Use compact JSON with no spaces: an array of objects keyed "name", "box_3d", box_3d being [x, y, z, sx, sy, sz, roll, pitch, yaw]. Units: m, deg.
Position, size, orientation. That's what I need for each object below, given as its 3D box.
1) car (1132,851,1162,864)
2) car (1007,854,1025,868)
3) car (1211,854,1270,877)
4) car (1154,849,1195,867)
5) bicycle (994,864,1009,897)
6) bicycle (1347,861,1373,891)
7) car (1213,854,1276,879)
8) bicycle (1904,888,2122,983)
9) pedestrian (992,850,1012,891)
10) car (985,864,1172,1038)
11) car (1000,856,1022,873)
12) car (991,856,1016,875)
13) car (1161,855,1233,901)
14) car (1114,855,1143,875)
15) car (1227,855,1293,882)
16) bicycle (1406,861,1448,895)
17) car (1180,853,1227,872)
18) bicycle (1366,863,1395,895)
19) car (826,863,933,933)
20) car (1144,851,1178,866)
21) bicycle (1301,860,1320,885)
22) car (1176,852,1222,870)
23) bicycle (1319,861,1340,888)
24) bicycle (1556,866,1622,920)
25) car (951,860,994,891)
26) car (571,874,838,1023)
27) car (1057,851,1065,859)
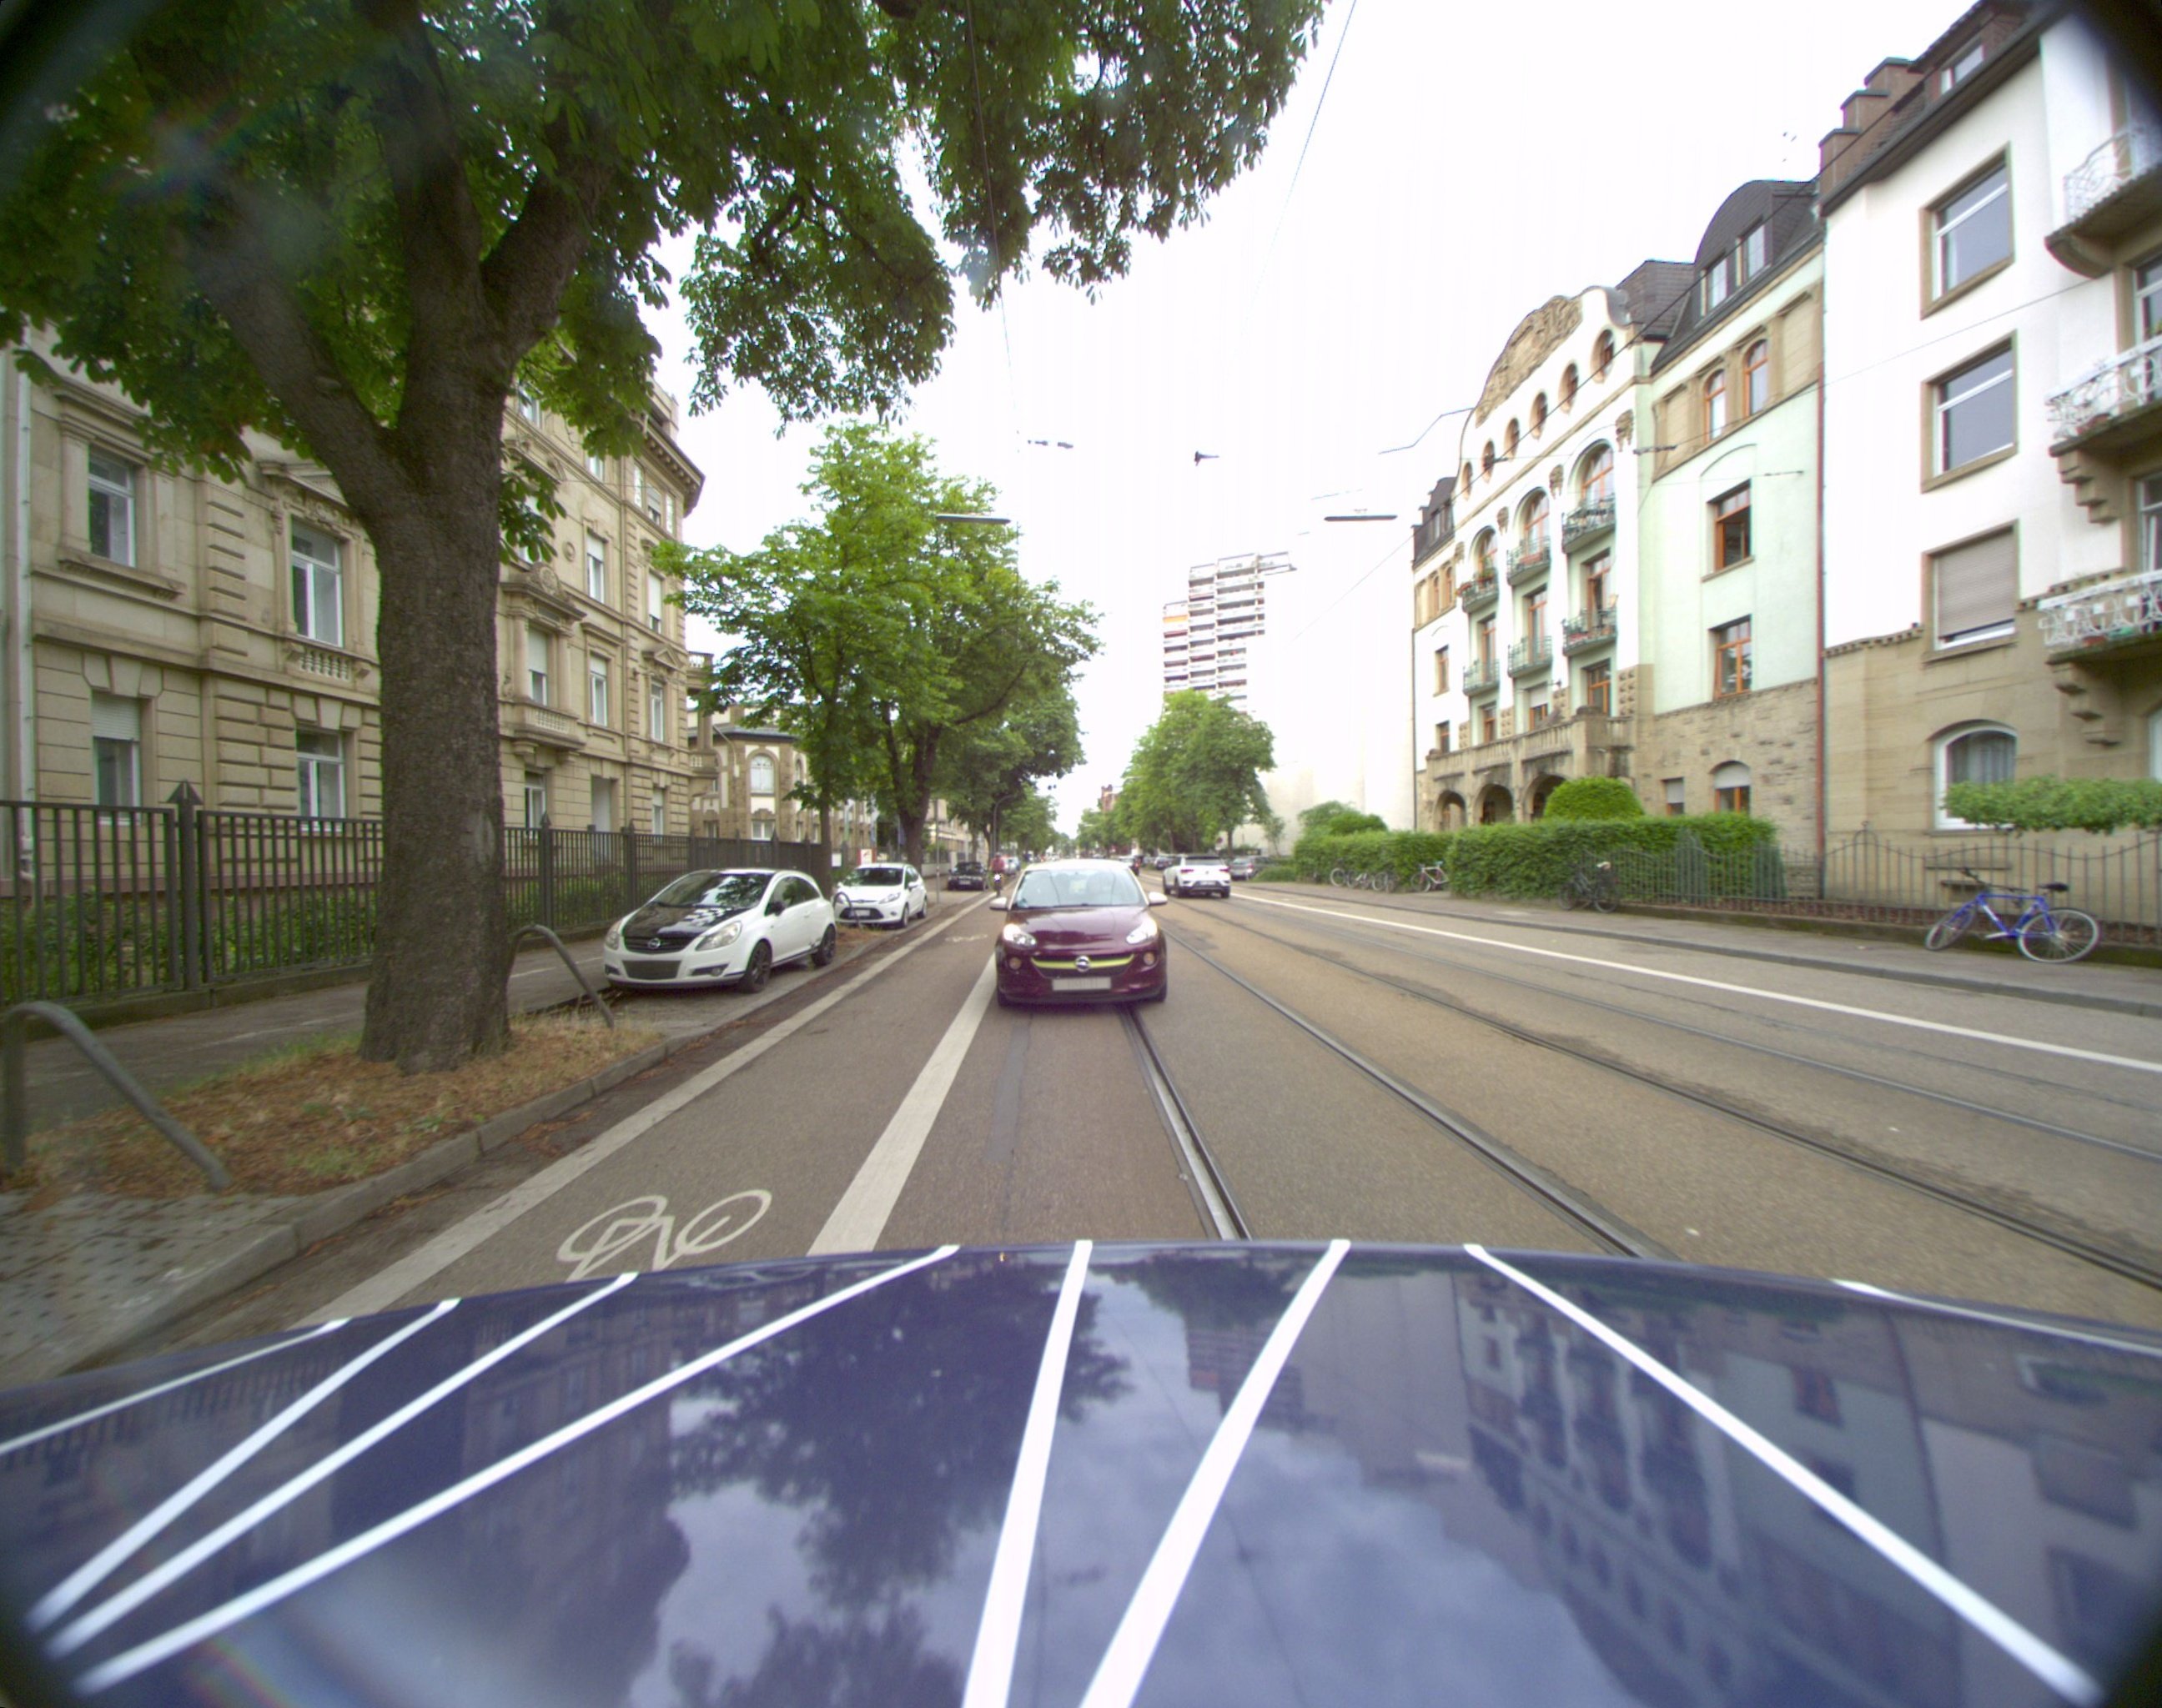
[{"name":"car","box_3d":[8.348,0.427,95.913,4.008,1.611,1.690,-1,1,-45]},{"name":"car","box_3d":[-6.742,0.713,78.965,1.606,1.362,3.836,1,0,-1]},{"name":"car","box_3d":[10.466,0.713,49.771,4.008,1.395,1.690,-1,1,-41]},{"name":"car","box_3d":[8.970,0.352,72.676,4.008,1.611,1.690,-1,1,-45]},{"name":"bicycle","box_3d":[-3.080,1.025,29.525,0.414,1.197,1.706,-1,1,-1]},{"name":"bicycle","box_3d":[10.503,0.819,28.608,0.360,1.077,1.546,-1,0,-2]},{"name":"car","box_3d":[10.074,0.736,46.592,4.008,1.395,1.690,-1,1,-41]},{"name":"bicycle","box_3d":[11.242,0.940,9.257,0.358,0.924,1.661,18,0,1]},{"name":"pedestrian","box_3d":[-3.055,0.638,29.310,0.684,1.541,0.704,-1,1,-1]},{"name":"car","box_3d":[-0.040,0.891,8.673,1.606,1.427,3.776,-2,0,-1]},{"name":"car","box_3d":[-6.125,0.870,66.552,1.606,1.416,3.836,1,0,-1]},{"name":"car","box_3d":[-6.026,0.887,59.210,1.606,1.362,3.836,1,0,-1]},{"name":"car","box_3d":[3.971,0.773,26.623,1.703,1.487,3.929,0,0,-4]},{"name":"car","box_3d":[3.470,0.774,56.059,1.613,1.414,3.485,0,0,-4]},{"name":"car","box_3d":[10.350,0.812,43.767,4.008,1.395,1.690,-1,1,-41]},{"name":"bicycle","box_3d":[11.541,0.802,25.326,1.205,1.077,0.300,-3,1,0]},{"name":"car","box_3d":[9.687,0.633,59.923,4.008,1.387,1.690,-1,1,-45]},{"name":"bicycle","box_3d":[10.532,0.852,26.752,0.360,1.077,1.546,-1,0,-2]},{"name":"car","box_3d":[-4.721,0.976,18.282,1.632,1.427,3.763,1,0,-1]},{"name":"car","box_3d":[9.049,0.471,86.099,4.008,1.611,1.690,-1,1,-45]},{"name":"bicycle","box_3d":[10.422,0.831,34.576,0.360,1.077,1.546,-1,0,-2]},{"name":"car","box_3d":[9.817,0.578,62.977,4.008,1.434,1.690,-1,1,-45]},{"name":"bicycle","box_3d":[10.410,0.854,31.870,0.360,1.077,1.546,-1,0,-2]},{"name":"bicycle","box_3d":[10.919,0.819,16.385,0.360,1.077,1.546,-1,0,-2]},{"name":"car","box_3d":[-5.212,0.999,36.776,1.606,1.362,3.836,1,0,-1]},{"name":"car","box_3d":[-4.561,1.047,9.877,1.606,1.427,3.776,1,0,-1]},{"name":"car","box_3d":[-5.363,0.322,204.365,1.998,2.002,3.999,-2,1,1]}]
